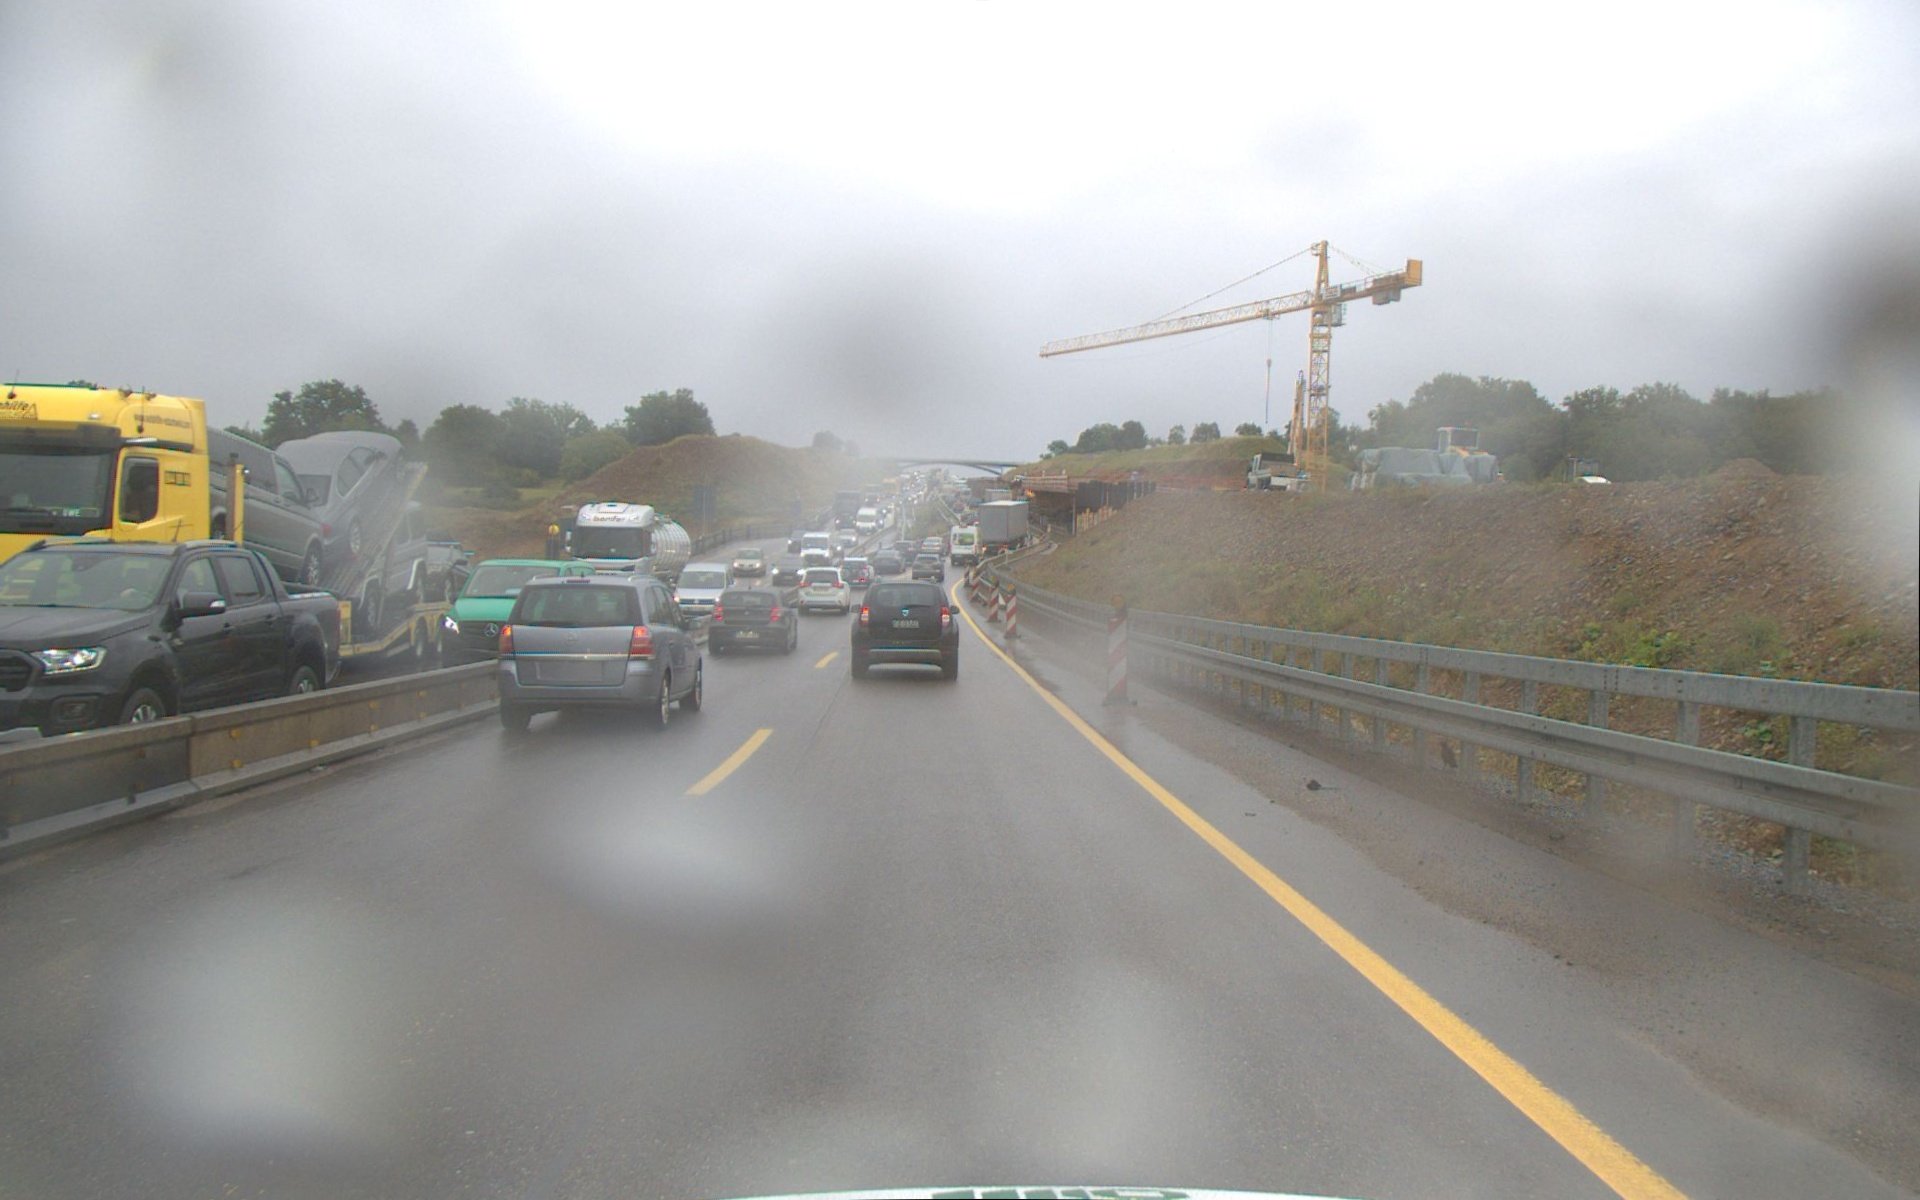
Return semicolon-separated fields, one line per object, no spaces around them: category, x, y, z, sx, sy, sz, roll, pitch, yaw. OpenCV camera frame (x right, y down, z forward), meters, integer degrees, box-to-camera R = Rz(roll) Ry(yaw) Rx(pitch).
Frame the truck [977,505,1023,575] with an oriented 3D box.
truck;3.402;-4.933;138.155;3.036;5.520;9.450;1;0;6

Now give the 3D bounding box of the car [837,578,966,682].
car;-0.967;0.463;28.551;2.039;1.628;4.140;1;0;-1

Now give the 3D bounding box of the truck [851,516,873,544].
truck;-9.983;-7.117;168.759;2.104;2.760;6.015;1;2;-2

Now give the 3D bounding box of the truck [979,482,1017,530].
truck;4.529;-11.173;199.041;3.727;5.130;12.916;1;0;-2

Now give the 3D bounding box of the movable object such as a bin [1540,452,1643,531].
movable object such as a bin;32.402;-5.488;85.127;2.295;3.662;6.554;1;0;-5

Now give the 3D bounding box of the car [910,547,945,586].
car;-1.888;-1.966;97.203;1.953;2.200;4.140;1;0;-1

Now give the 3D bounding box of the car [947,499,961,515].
car;-0.911;-13.770;244.865;1.953;2.049;3.998;1;0;-2

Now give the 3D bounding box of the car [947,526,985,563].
car;0.442;-3.982;120.130;1.951;2.527;4.986;1;0;10

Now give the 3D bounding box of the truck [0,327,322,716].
truck;-10.464;-0.868;20.671;2.694;4.133;6.146;1;0;-2

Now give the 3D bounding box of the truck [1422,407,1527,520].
truck;21.570;-5.651;69.650;2.325;4.292;5.977;1;0;-2

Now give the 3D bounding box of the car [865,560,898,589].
car;-5.018;-1.628;106.472;1.953;1.792;3.814;1;0;-1

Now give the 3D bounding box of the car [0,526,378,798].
car;-6.603;0.408;13.832;1.751;1.837;5.188;-1;0;-2

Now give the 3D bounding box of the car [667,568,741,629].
car;-8.042;-0.082;52.287;1.828;1.831;4.161;1;1;-2

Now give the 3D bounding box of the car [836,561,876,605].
car;-5.478;-0.888;86.739;1.954;2.200;4.137;1;0;-5

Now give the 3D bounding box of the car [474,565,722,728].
car;-3.973;0.451;18.845;1.953;1.628;4.140;1;0;-1

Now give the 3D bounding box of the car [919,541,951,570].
car;-1.991;-3.538;132.254;1.951;2.200;4.144;1;0;7

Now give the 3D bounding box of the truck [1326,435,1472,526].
truck;17.041;-4.574;64.964;3.326;2.925;8.959;1;0;0

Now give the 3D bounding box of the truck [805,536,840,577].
truck;-9.202;-2.888;110.839;2.037;2.621;5.960;1;0;-2

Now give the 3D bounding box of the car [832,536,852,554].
car;-10.421;-4.870;146.007;1.643;1.550;4.344;0;2;-2

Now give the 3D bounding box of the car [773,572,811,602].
car;-9.137;-0.738;90.338;1.737;1.530;4.677;0;1;-2

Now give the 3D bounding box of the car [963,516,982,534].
car;1.432;-8.400;186.124;1.953;2.048;4.000;0;2;-2

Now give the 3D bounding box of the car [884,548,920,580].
car;-4.109;-2.532;118.439;1.951;2.200;4.144;1;0;6

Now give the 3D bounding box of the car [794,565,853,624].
car;-4.966;-0.207;60.645;1.953;2.049;3.892;1;0;-2

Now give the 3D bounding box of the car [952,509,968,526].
car;0.014;-10.374;207.706;1.953;2.048;4.000;0;2;-2

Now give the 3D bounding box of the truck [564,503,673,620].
truck;-11.594;-1.276;56.647;2.568;3.741;6.592;1;1;-2

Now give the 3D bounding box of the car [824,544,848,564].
car;-9.766;-3.595;130.422;1.751;1.565;4.311;0;1;-2

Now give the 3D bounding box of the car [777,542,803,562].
car;-13.988;-3.954;136.339;1.751;1.565;4.311;0;1;-2

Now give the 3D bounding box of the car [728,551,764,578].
car;-12.844;-2.143;99.388;1.752;1.573;3.999;1;1;-2

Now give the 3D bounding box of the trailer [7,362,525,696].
trailer;-10.641;-0.939;28.237;2.694;4.113;15.355;1;0;-1

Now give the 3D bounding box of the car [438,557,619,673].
car;-7.248;0.200;28.252;1.953;1.789;4.686;1;1;-2

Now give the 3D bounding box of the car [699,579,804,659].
car;-4.480;0.370;36.044;1.954;1.628;4.138;1;0;-3

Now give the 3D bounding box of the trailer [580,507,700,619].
trailer;-11.824;-1.327;62.247;2.568;3.741;11.999;1;1;-2

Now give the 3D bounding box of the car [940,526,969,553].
car;-0.422;-5.157;141.742;1.951;2.200;4.144;1;0;7

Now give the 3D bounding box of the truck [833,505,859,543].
truck;-12.640;-8.458;183.311;2.589;4.038;9.211;1;3;-3

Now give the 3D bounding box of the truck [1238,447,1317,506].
truck;16.727;-6.491;87.615;2.592;2.599;6.982;1;0;-2
